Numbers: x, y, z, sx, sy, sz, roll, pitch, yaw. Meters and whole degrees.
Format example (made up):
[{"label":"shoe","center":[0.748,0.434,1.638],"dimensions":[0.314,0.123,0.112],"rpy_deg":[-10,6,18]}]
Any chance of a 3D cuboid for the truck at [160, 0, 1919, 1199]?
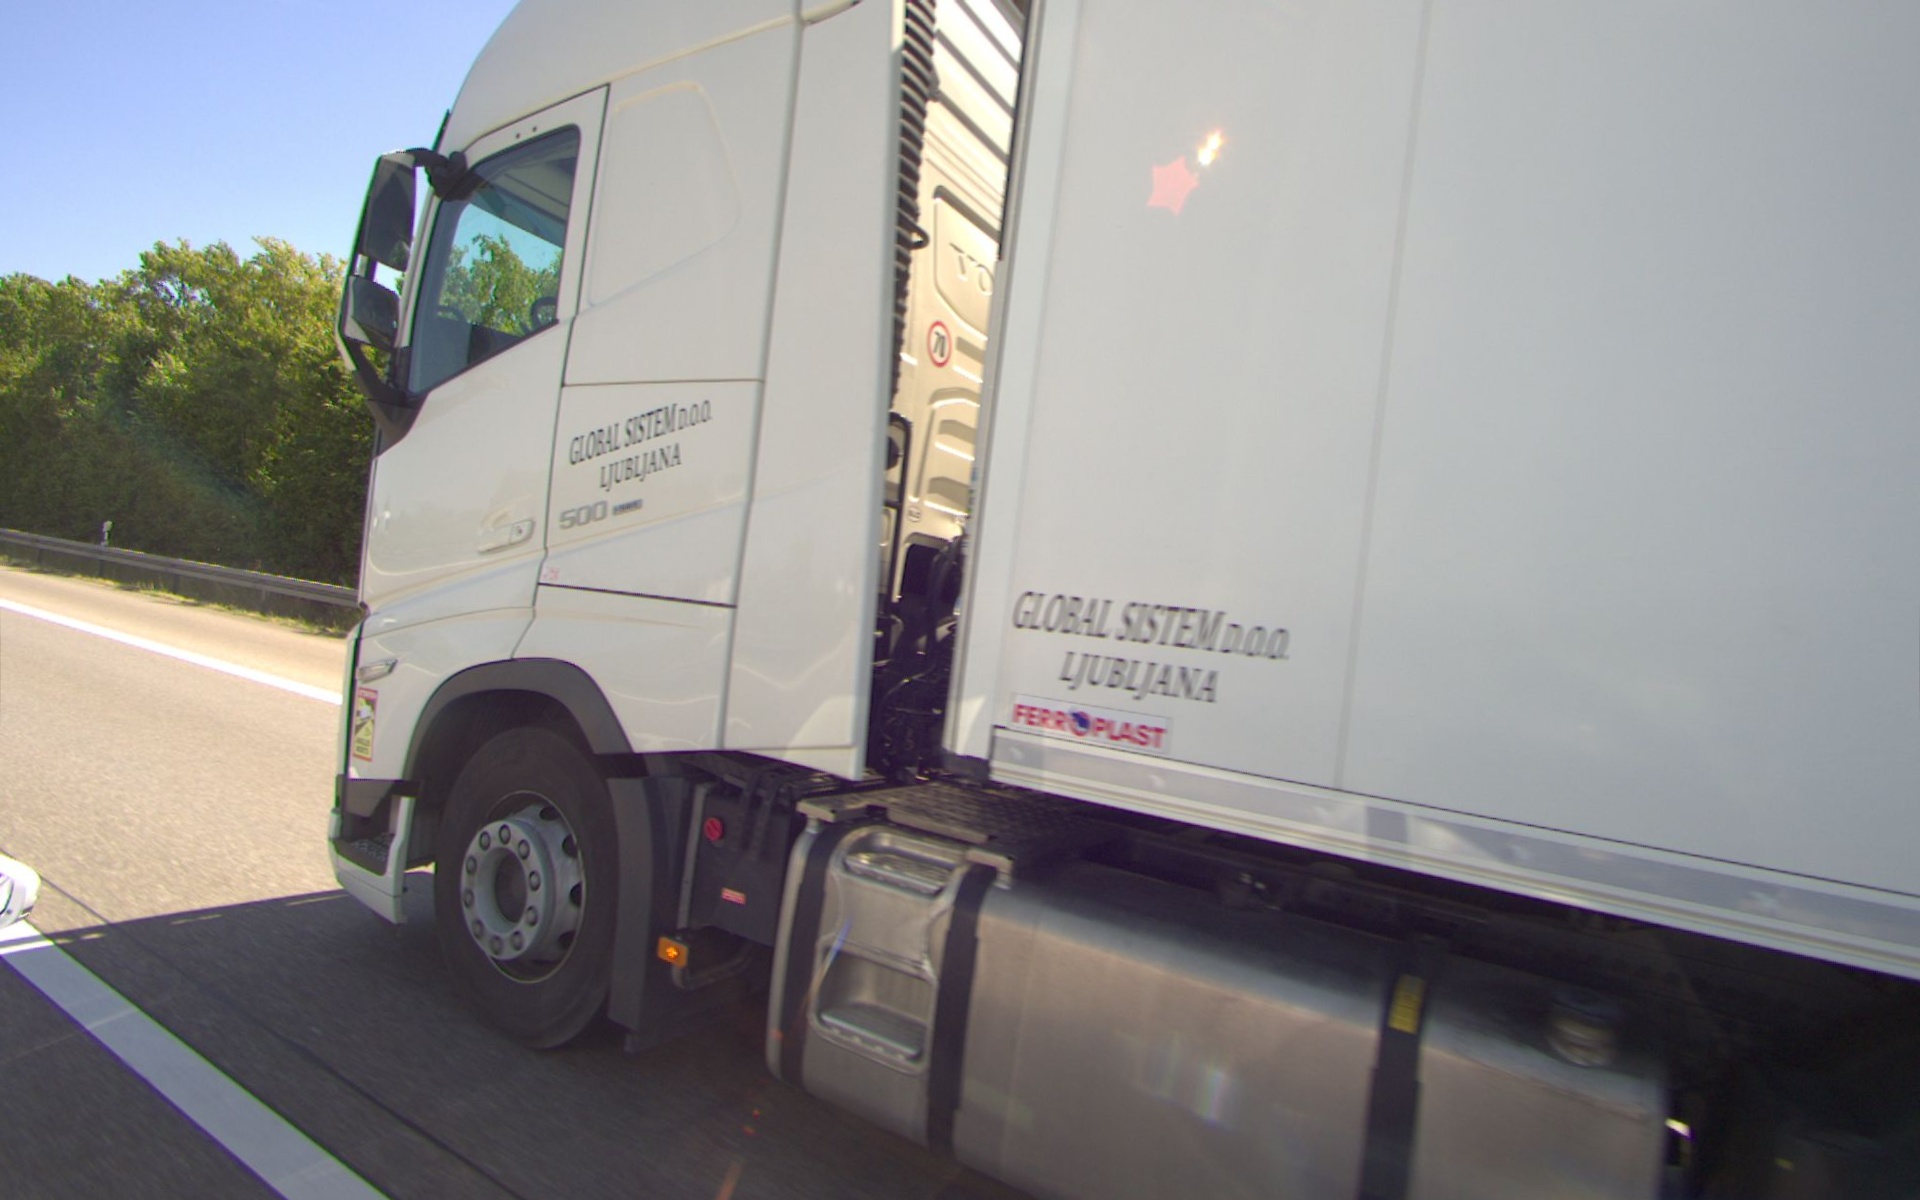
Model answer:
[{"label":"truck","center":[0.313,-0.414,3.479],"dimensions":[6.215,4.109,2.475],"rpy_deg":[6,-2,32]}]
